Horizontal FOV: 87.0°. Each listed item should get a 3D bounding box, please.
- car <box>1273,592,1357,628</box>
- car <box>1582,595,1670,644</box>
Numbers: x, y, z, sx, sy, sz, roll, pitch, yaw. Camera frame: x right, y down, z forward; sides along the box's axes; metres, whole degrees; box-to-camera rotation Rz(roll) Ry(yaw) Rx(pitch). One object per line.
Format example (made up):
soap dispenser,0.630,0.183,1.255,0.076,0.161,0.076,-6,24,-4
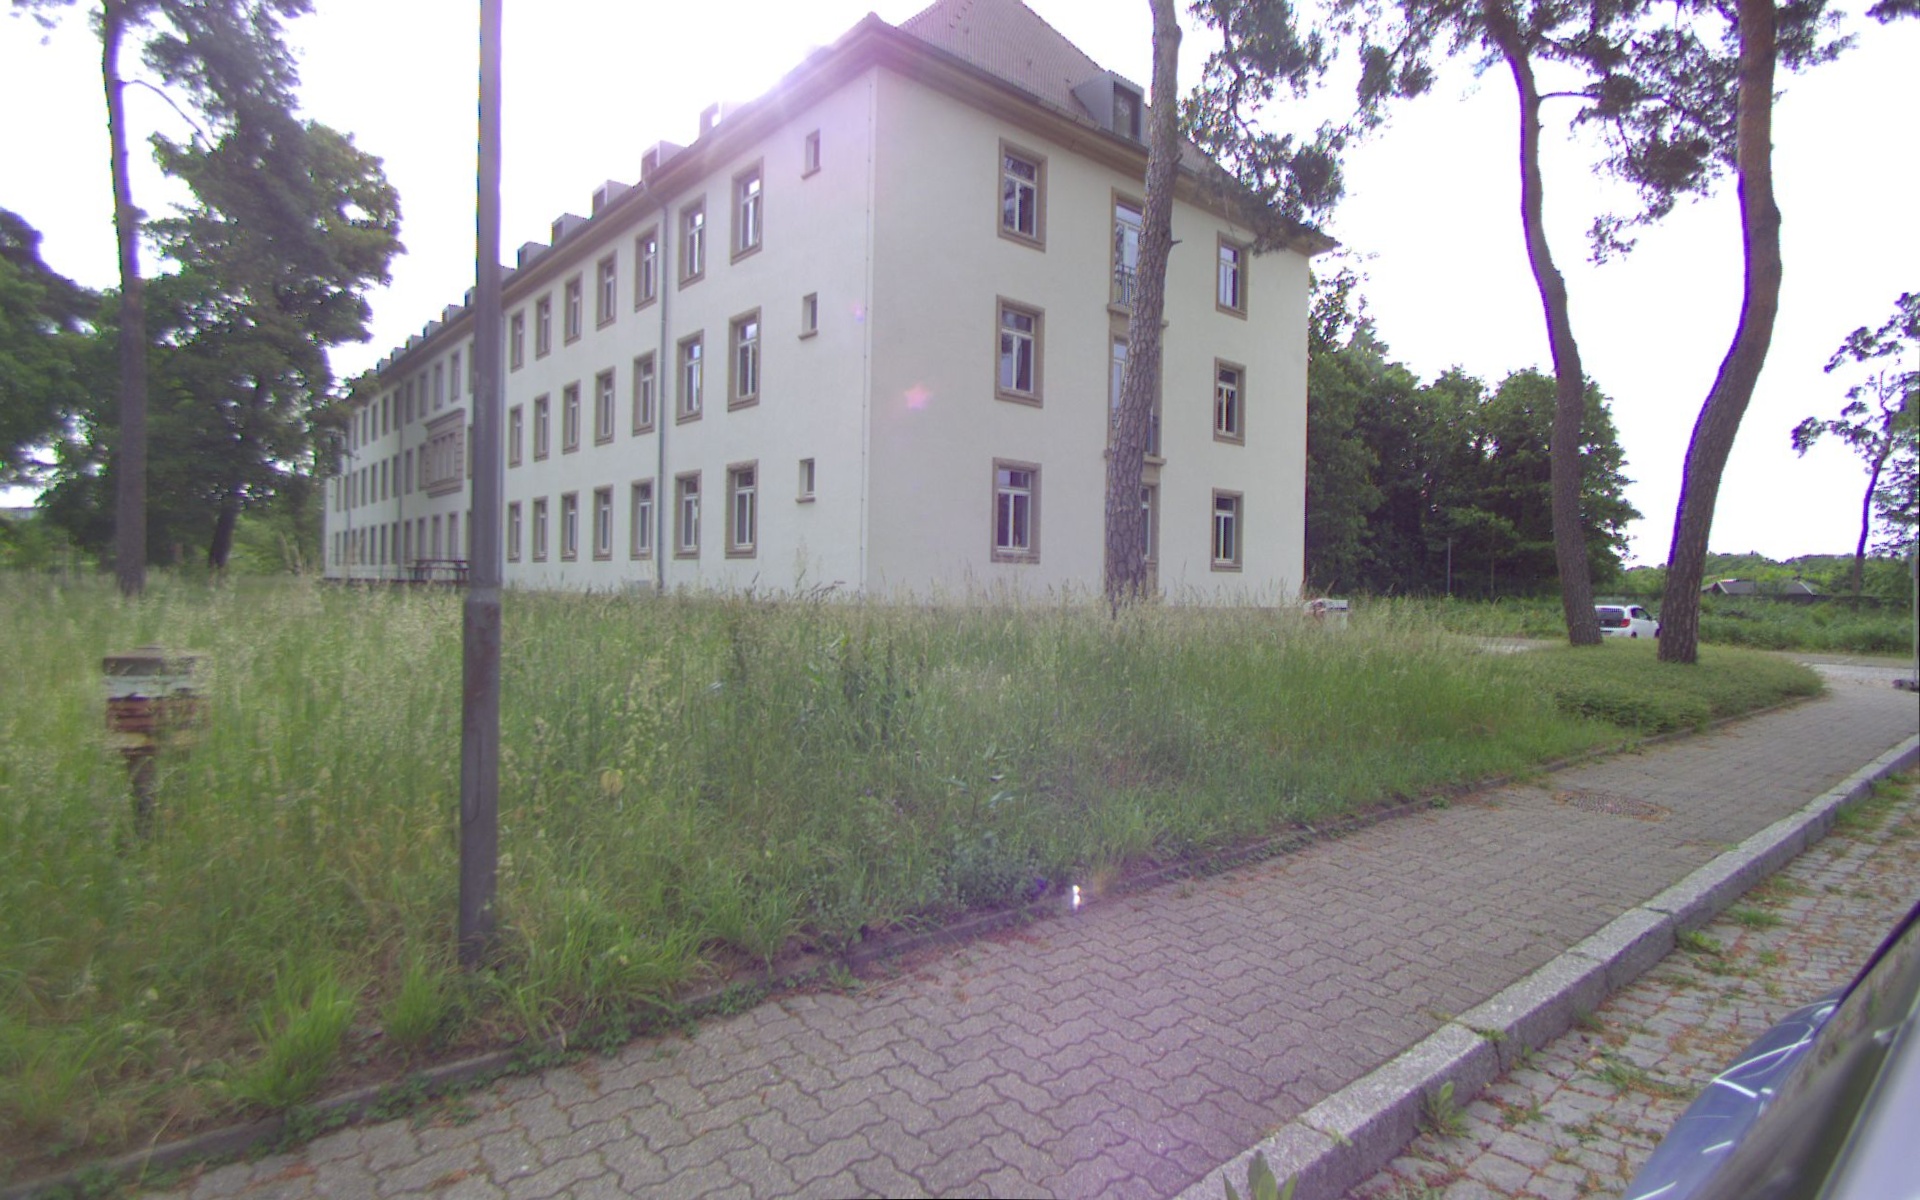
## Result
car,14.934,0.391,42.494,3.931,1.345,1.640,-2,2,-41
car,22.418,0.606,34.034,3.221,1.451,1.640,-3,3,-41
